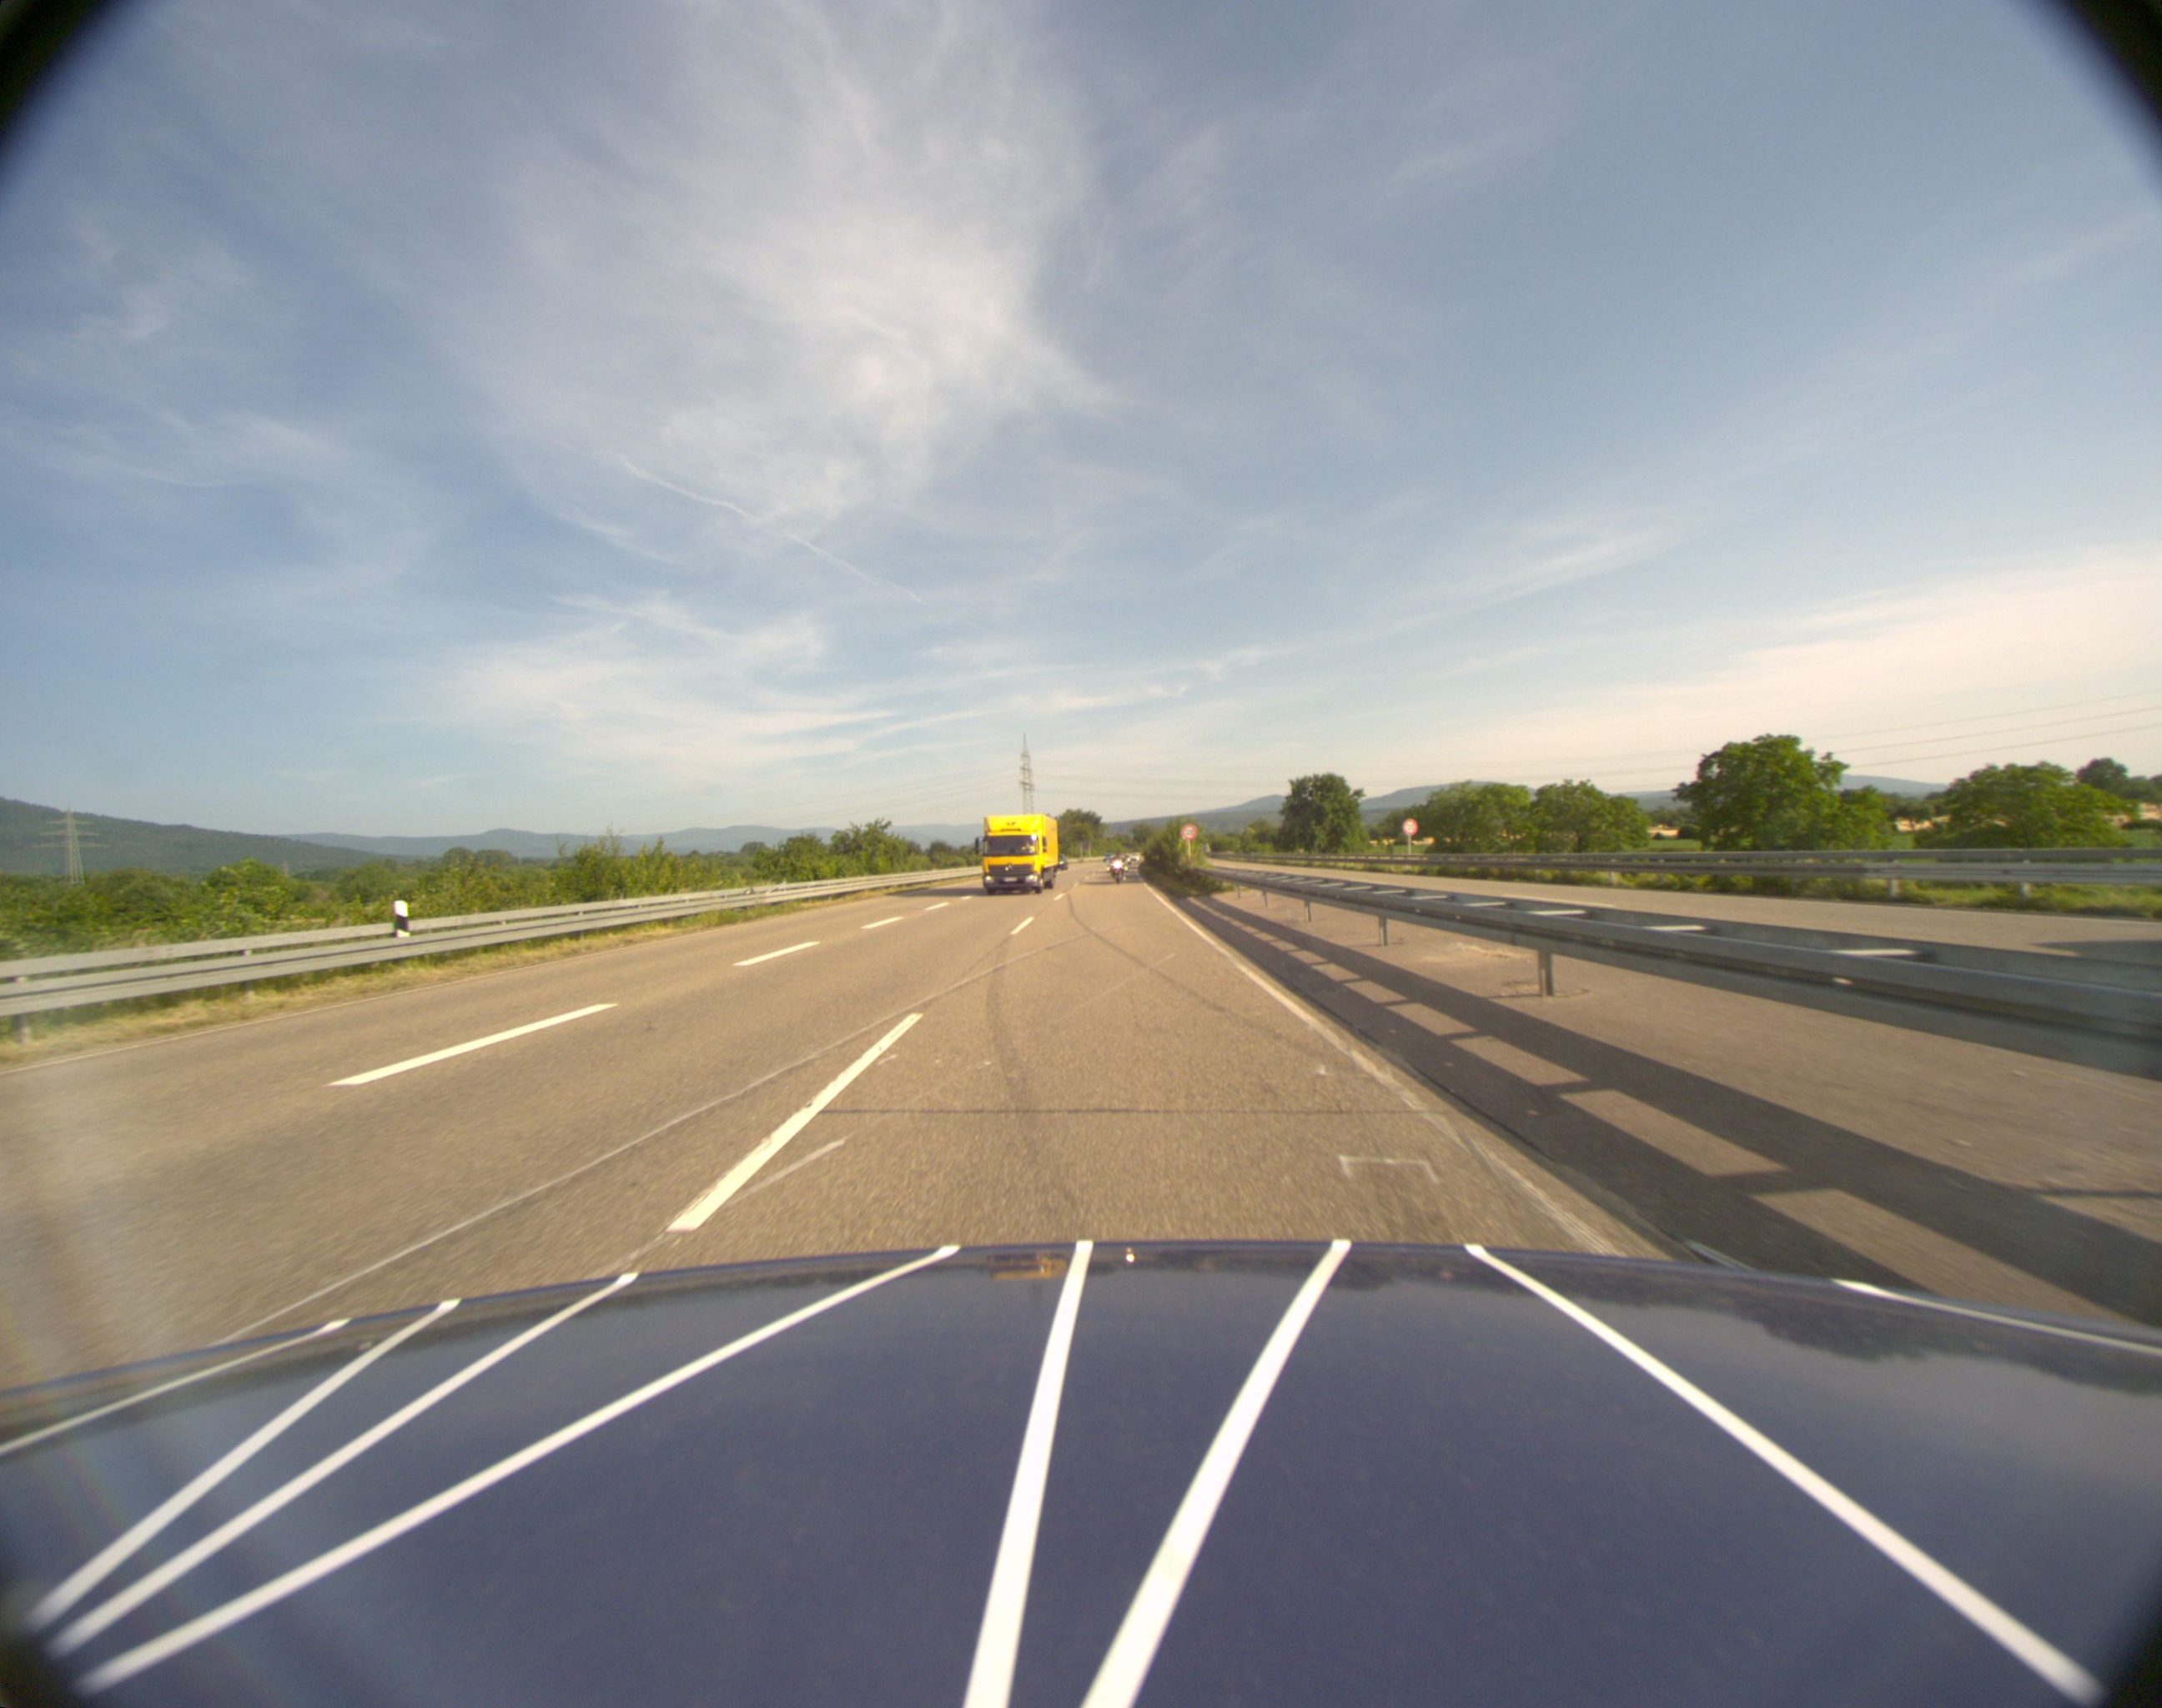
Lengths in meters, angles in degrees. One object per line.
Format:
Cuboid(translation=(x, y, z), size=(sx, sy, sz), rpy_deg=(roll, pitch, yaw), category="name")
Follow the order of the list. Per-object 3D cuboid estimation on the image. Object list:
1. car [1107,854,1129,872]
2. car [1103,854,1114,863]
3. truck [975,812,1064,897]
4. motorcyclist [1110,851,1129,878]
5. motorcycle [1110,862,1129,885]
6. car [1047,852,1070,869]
Cuboid(translation=(3.317, 0.757, 67.429), size=(1.868, 1.454, 4.084), rpy_deg=(-1, 1, 4), category="car")
Cuboid(translation=(5.193, 0.750, 141.600), size=(1.676, 1.541, 3.828), rpy_deg=(-1, 1, 6), category="car")
Cuboid(translation=(-2.567, 0.007, 35.598), size=(2.785, 3.297, 10.491), rpy_deg=(-2, 0, 2), category="truck")
Cuboid(translation=(2.045, 0.547, 40.482), size=(0.937, 1.344, 1.143), rpy_deg=(-1, 1, 3), category="motorcyclist")
Cuboid(translation=(2.047, 1.022, 40.429), size=(0.937, 1.132, 2.582), rpy_deg=(-1, 1, 3), category="motorcycle")
Cuboid(translation=(-2.452, 0.688, 82.514), size=(1.877, 1.630, 4.001), rpy_deg=(-1, 1, 6), category="car")
